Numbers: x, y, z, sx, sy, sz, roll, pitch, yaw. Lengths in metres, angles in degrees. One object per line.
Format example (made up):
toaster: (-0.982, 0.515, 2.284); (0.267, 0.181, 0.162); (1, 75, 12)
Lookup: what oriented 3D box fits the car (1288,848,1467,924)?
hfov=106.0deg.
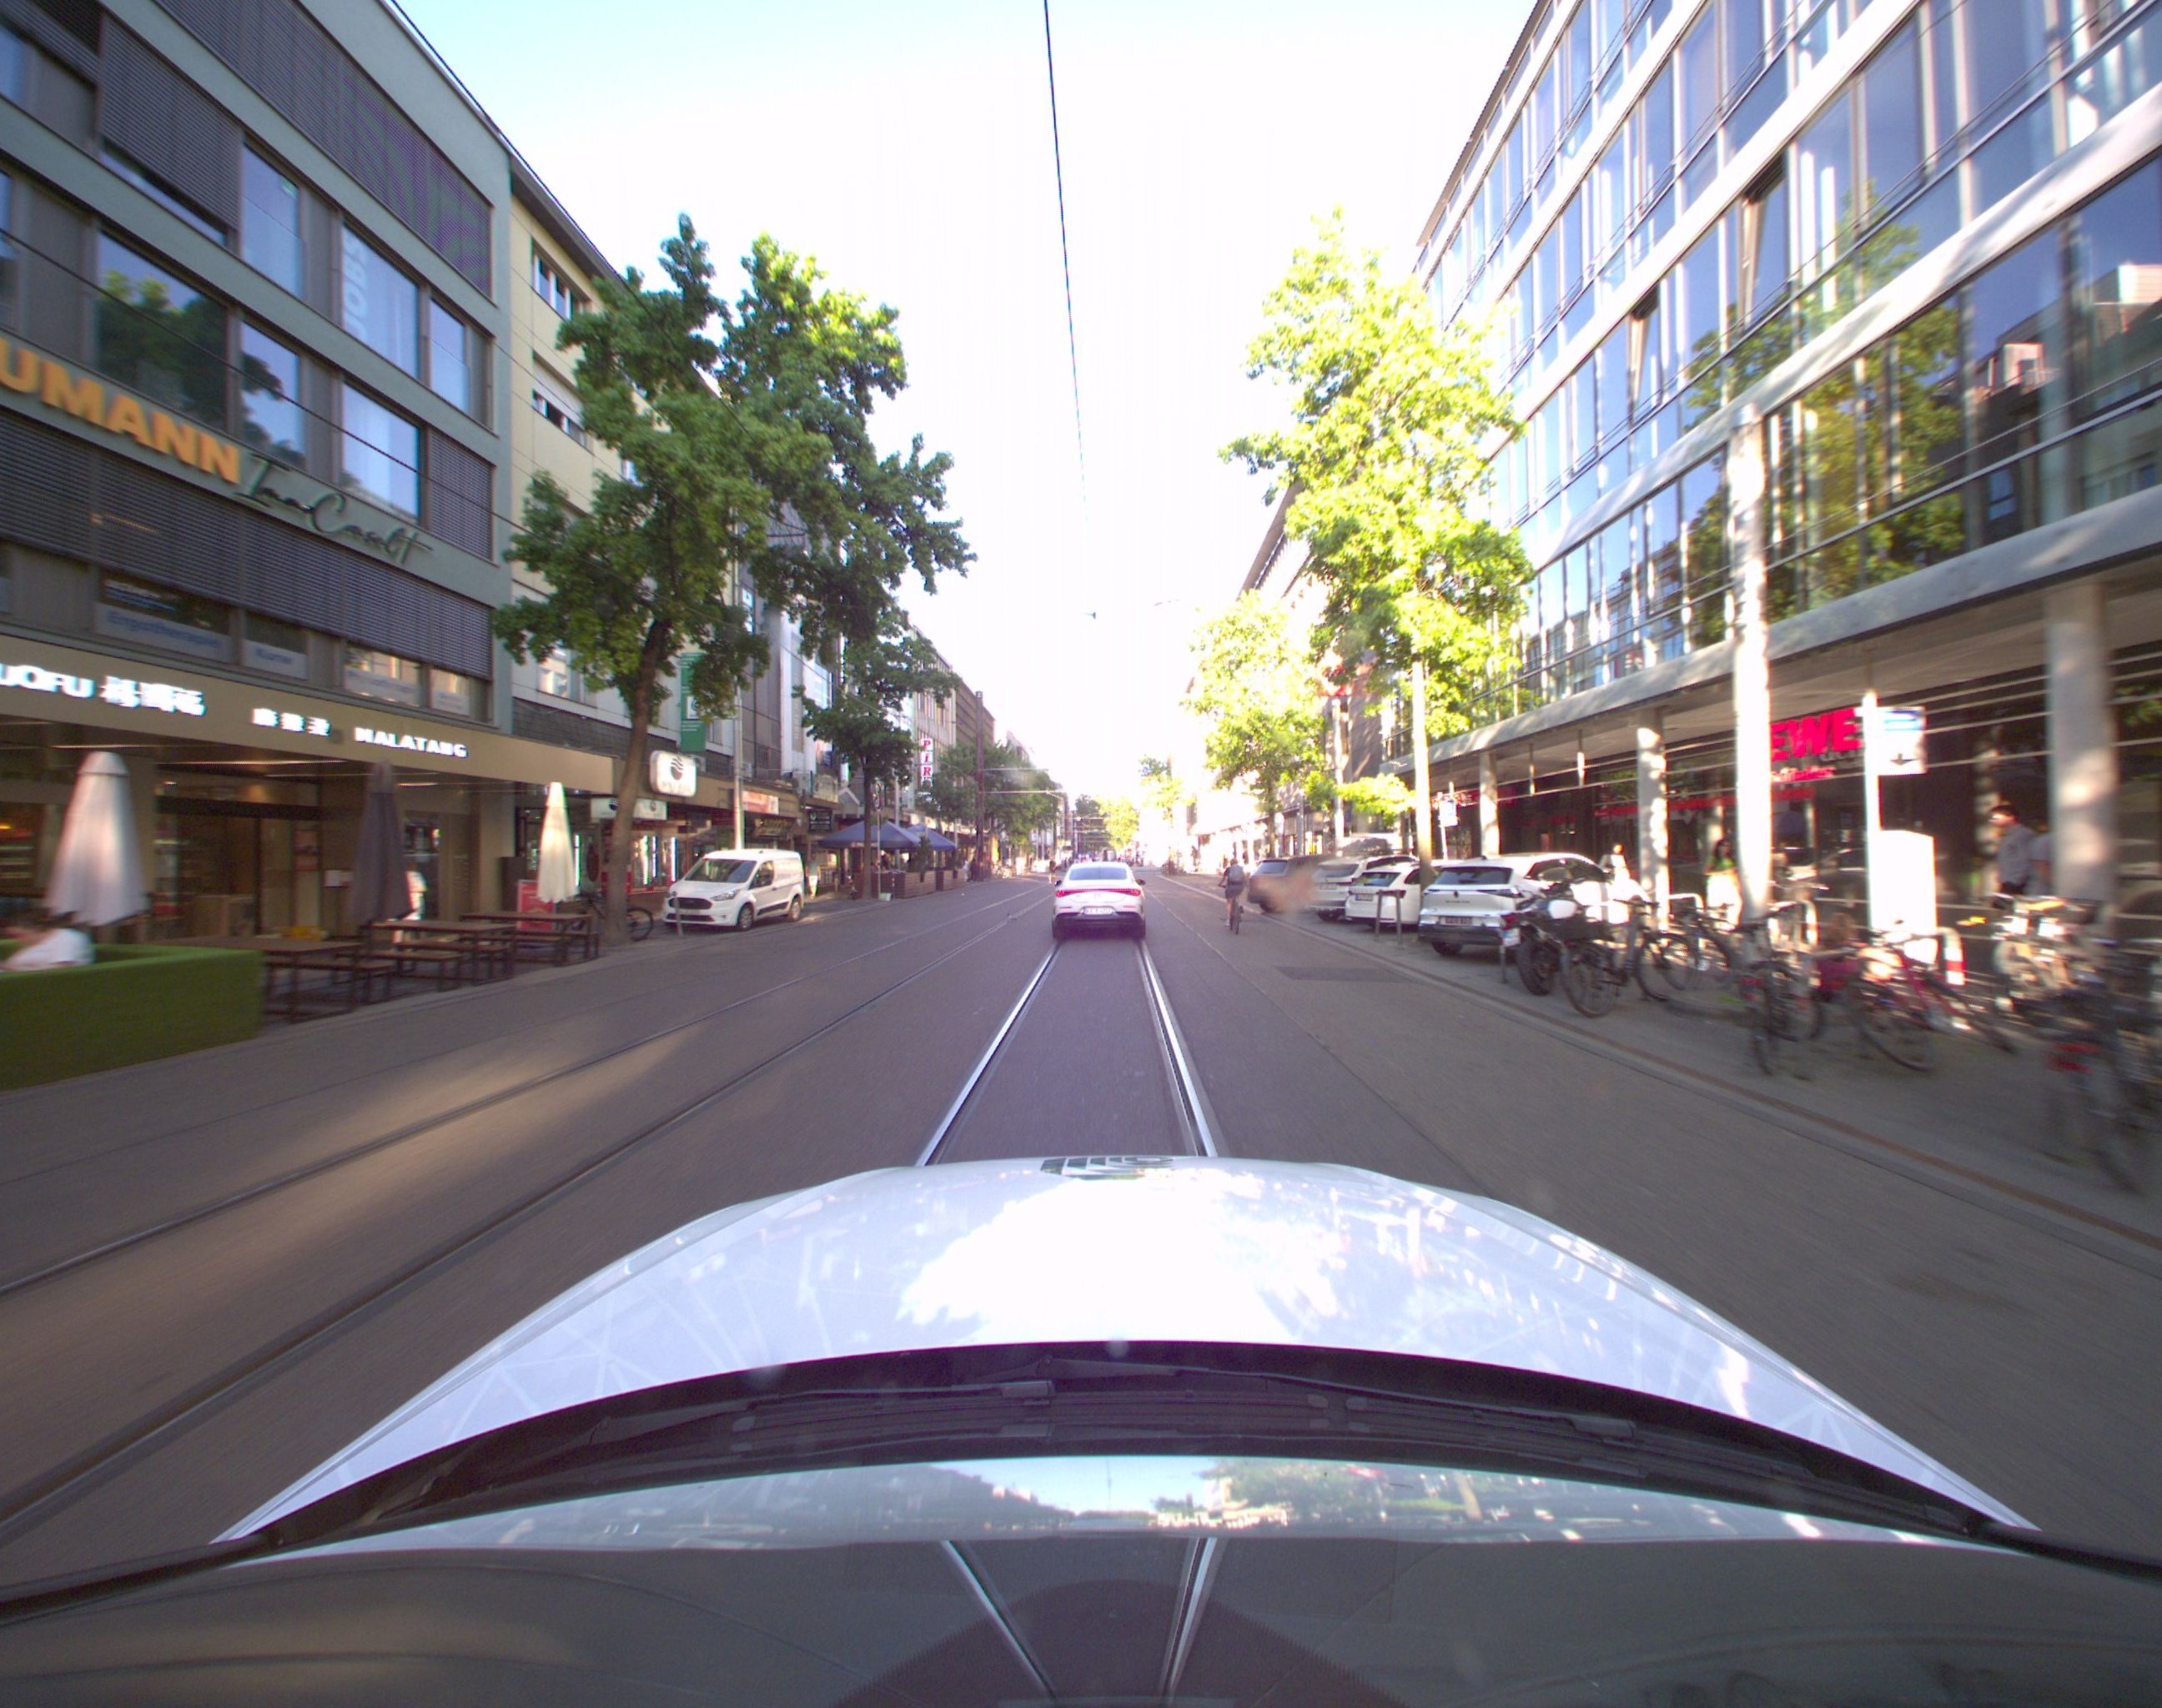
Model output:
car: (7.540, 0.756, 20.634); (4.261, 1.587, 1.866); (-3, 0, -29)

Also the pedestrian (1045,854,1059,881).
pedestrian: (-1.987, 0.931, 55.516); (0.838, 1.801, 0.791); (1, -1, 3)

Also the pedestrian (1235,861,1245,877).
pedestrian: (11.833, 1.113, 60.454); (0.663, 1.198, 0.786); (-1, 0, 7)

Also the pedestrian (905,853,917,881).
pedestrian: (-10.793, 0.846, 51.667); (0.595, 1.745, 0.672); (1, -1, 3)

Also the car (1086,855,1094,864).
car: (2.294, 1.394, 213.673); (1.902, 2.461, 5.278); (-1, 0, 3)

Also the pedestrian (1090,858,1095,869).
pedestrian: (1.756, 1.450, 126.561); (0.797, 1.782, 0.849); (1, -1, 1)

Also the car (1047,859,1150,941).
car: (0.396, 0.854, 16.928); (1.850, 1.455, 4.177); (-1, 0, 2)

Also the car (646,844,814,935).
car: (-8.217, 0.765, 19.583); (1.788, 1.864, 4.557); (2, 0, 3)

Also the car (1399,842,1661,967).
car: (7.320, 0.709, 13.183); (4.174, 1.571, 1.836); (-3, 0, -31)

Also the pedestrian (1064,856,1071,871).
pedestrian: (-1.745, 1.167, 104.429); (0.576, 1.929, 0.534); (0, -1, -44)

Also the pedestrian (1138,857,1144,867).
pedestrian: (10.399, 1.348, 140.795); (0.957, 1.785, 0.804); (-3, -1, 1)

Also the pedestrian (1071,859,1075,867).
pedestrian: (-1.365, 1.622, 147.106); (0.657, 1.599, 0.573); (-1, -1, 1)

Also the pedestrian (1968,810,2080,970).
pedestrian: (10.807, 0.402, 9.352); (0.555, 1.750, 0.525); (-3, -1, 2)

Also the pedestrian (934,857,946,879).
pedestrian: (-10.028, 0.972, 57.948); (0.620, 1.526, 0.810); (1, 0, 2)

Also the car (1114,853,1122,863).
car: (11.151, 1.094, 245.823); (2.091, 2.897, 5.288); (-1, 0, 3)

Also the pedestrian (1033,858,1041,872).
pedestrian: (-5.492, 1.388, 102.251); (0.901, 1.698, 0.849); (-1, -1, 2)

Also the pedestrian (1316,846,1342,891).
pedestrian: (9.851, 0.566, 32.365); (0.680, 1.731, 0.636); (-4, -1, 44)

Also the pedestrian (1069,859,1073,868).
pedestrian: (-1.883, 1.707, 150.221); (0.657, 1.599, 0.573); (-1, -1, 1)

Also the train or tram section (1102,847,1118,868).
train or tram section: (5.194, 0.576, 144.292); (2.684, 3.516, 12.551); (-1, 0, 2)

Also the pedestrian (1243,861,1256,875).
pedestrian: (12.185, 1.014, 58.939); (0.831, 1.031, 0.697); (0, 0, 7)

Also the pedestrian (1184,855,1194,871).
pedestrian: (11.887, 1.002, 89.756); (0.896, 1.744, 0.690); (-4, -1, 1)

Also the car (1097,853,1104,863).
car: (5.961, 1.140, 245.649); (2.091, 2.897, 5.278); (-1, 0, 3)

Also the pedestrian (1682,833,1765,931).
pedestrian: (11.223, 0.479, 14.264); (0.711, 1.624, 0.883); (-2, -1, 3)

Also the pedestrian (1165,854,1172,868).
pedestrian: (11.365, 0.947, 105.535); (0.746, 1.785, 0.767); (-3, -1, 1)

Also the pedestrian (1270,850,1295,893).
pedestrian: (8.046, 0.697, 32.548); (0.672, 1.685, 0.700); (-3, -1, 35)

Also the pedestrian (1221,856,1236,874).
pedestrian: (11.577, 0.888, 63.858); (0.836, 1.377, 0.772); (0, 0, -21)

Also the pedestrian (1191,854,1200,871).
pedestrian: (12.631, 0.913, 89.636); (0.698, 1.812, 1.033); (-4, -1, 2)

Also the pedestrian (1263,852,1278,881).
pedestrian: (10.618, 0.707, 45.659); (0.679, 1.572, 0.632); (1, 0, 2)

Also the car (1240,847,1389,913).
car: (7.068, 0.750, 24.576); (4.369, 1.652, 1.678); (-3, 0, -29)

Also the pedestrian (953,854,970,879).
pedestrian: (-8.537, 0.903, 58.131); (0.842, 1.741, 0.839); (1, -1, 22)

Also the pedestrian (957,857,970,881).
pedestrian: (-7.617, 0.988, 52.729); (0.620, 1.509, 0.834); (1, 0, 2)

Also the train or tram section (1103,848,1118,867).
train or tram section: (5.704, 0.642, 156.842); (2.684, 3.516, 12.551); (-1, 0, 2)

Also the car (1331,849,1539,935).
car: (7.708, 0.773, 17.725); (4.163, 1.499, 1.676); (-3, 0, -22)

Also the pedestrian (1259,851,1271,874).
pedestrian: (14.242, 0.675, 63.090); (0.713, 1.741, 0.836); (-1, -1, 2)

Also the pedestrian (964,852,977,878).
pedestrian: (-8.343, 0.840, 61.609); (0.798, 1.923, 1.071); (2, 0, -1)

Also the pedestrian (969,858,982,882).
pedestrian: (-6.834, 1.037, 52.708); (0.620, 1.550, 0.853); (1, 0, 2)

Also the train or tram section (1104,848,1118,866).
train or tram section: (6.177, 0.709, 168.679); (2.684, 3.516, 11.148); (-1, 0, 2)

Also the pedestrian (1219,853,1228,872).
pedestrian: (12.861, 0.751, 73.472); (0.634, 1.653, 0.781); (-1, -1, 3)

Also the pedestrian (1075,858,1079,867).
pedestrian: (-0.644, 1.616, 147.164); (0.657, 1.599, 0.573); (-1, -1, 1)

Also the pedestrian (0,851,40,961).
pedestrian: (-16.716, 0.790, 12.411); (0.695, 1.651, 0.734); (2, -1, 4)

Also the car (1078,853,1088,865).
car: (0.480, 1.211, 194.923); (1.985, 2.897, 5.278); (-1, 0, 3)
